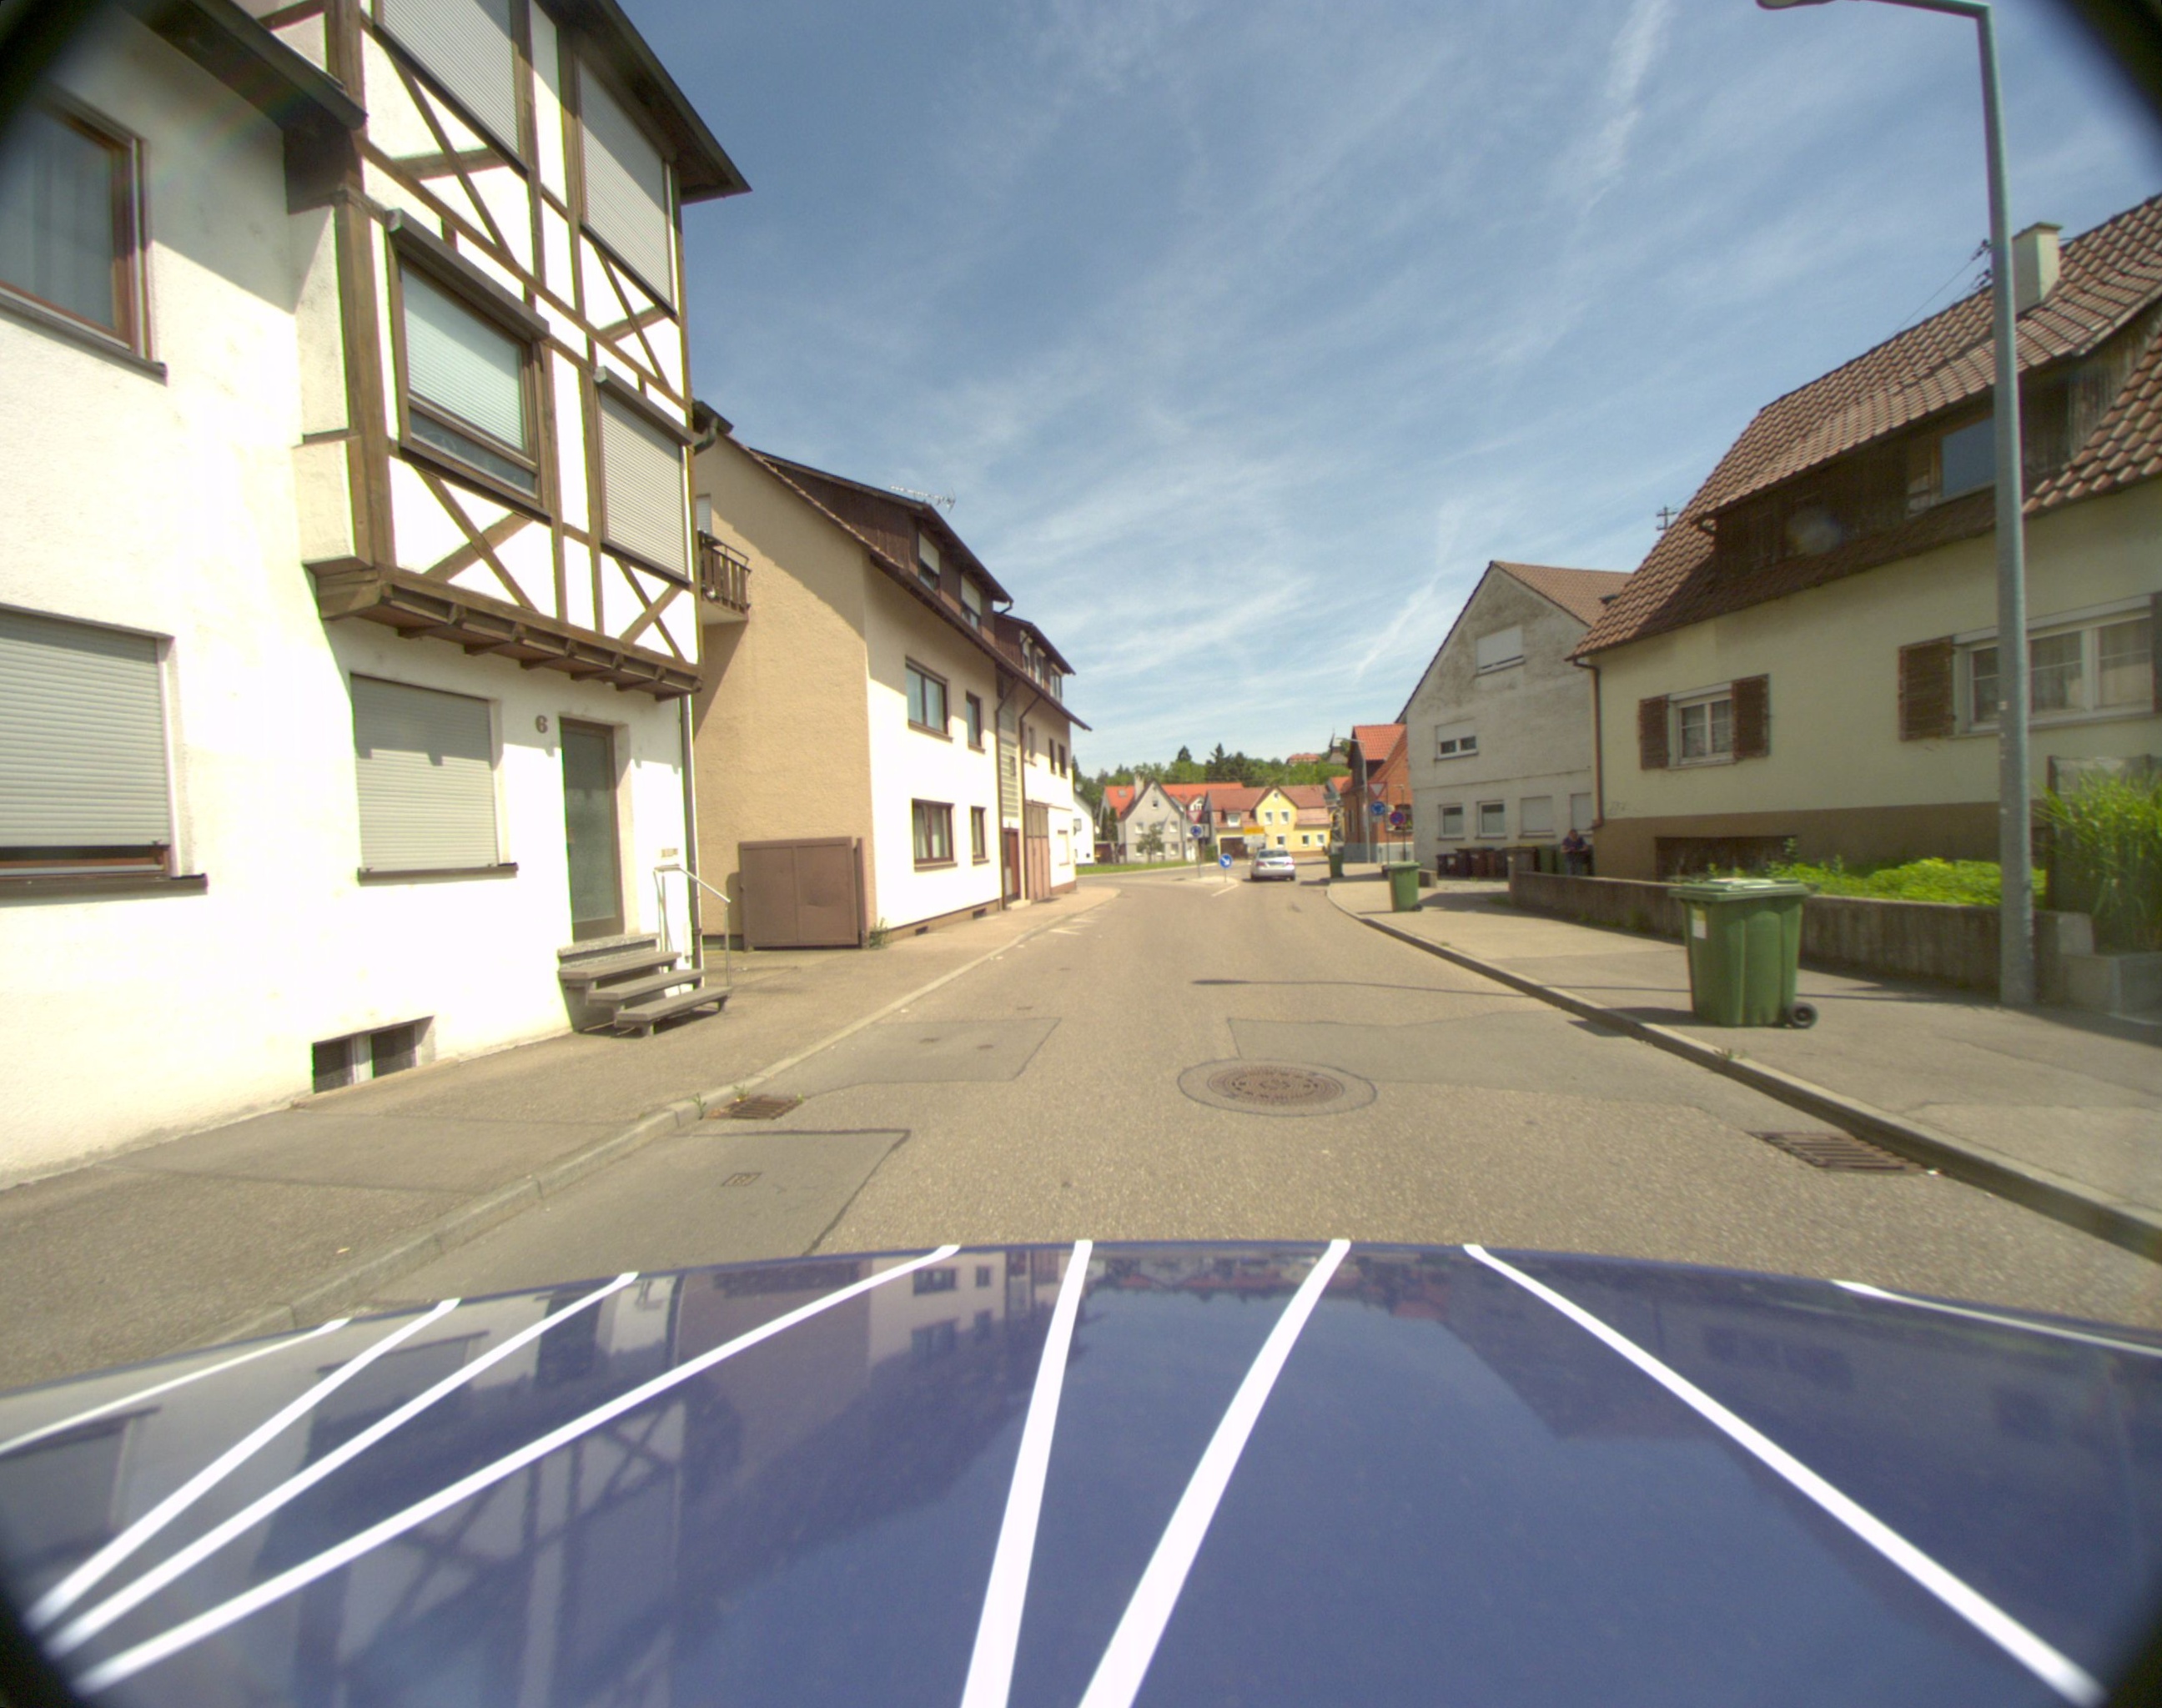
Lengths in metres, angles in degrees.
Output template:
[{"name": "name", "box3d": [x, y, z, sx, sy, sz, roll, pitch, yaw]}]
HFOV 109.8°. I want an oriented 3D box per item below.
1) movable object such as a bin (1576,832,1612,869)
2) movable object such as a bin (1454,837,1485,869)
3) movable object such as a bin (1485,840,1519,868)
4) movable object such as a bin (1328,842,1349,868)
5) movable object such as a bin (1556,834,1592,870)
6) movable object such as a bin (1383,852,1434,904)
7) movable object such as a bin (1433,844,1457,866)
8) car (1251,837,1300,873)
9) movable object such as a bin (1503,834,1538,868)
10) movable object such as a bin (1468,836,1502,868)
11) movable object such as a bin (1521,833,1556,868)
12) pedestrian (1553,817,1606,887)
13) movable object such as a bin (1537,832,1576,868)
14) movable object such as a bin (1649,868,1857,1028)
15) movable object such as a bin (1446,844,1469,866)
[{"name": "movable object such as a bin", "box3d": [15.240, -0.098, 22.575, 0.630, 1.029, 0.603, -4, 1, -18]}, {"name": "movable object such as a bin", "box3d": [13.859, -0.044, 27.104, 0.685, 1.080, 0.644, -4, 1, -18]}, {"name": "movable object such as a bin", "box3d": [14.289, 0.015, 25.774, 0.685, 0.891, 0.697, -4, 1, -18]}, {"name": "movable object such as a bin", "box3d": [10.996, 0.028, 32.461, 0.809, 1.039, 0.828, -3, 0, 19]}, {"name": "movable object such as a bin", "box3d": [15.043, -0.058, 23.177, 0.681, 1.076, 0.583, -4, 1, -18]}, {"name": "movable object such as a bin", "box3d": [6.958, 0.511, 16.184, 0.793, 1.051, 0.651, -3, 1, 5]}, {"name": "movable object such as a bin", "box3d": [13.537, 0.034, 28.275, 0.487, 0.801, 0.646, -4, 1, -16]}, {"name": "car", "box3d": [8.901, 0.025, 35.025, 1.958, 1.477, 4.462, -3, 0, 13]}, {"name": "movable object such as a bin", "box3d": [14.508, -0.107, 25.092, 0.685, 1.076, 0.697, -4, 1, -18]}, {"name": "movable object such as a bin", "box3d": [14.065, -0.058, 26.455, 0.685, 1.080, 0.697, -4, 1, -18]}, {"name": "movable object such as a bin", "box3d": [14.711, -0.116, 24.456, 0.685, 1.076, 0.624, -4, 1, -18]}, {"name": "pedestrian", "box3d": [11.717, -0.043, 17.875, 0.779, 1.565, 0.627, -3, 1, 0]}, {"name": "movable object such as a bin", "box3d": [14.900, -0.114, 23.827, 0.741, 1.076, 0.659, -4, 1, -18]}, {"name": "movable object such as a bin", "box3d": [4.985, 0.672, 5.709, 0.827, 1.071, 0.818, -3, 0, 9]}, {"name": "movable object such as a bin", "box3d": [13.706, 0.034, 27.694, 0.487, 0.776, 0.526, -4, 1, -18]}]
